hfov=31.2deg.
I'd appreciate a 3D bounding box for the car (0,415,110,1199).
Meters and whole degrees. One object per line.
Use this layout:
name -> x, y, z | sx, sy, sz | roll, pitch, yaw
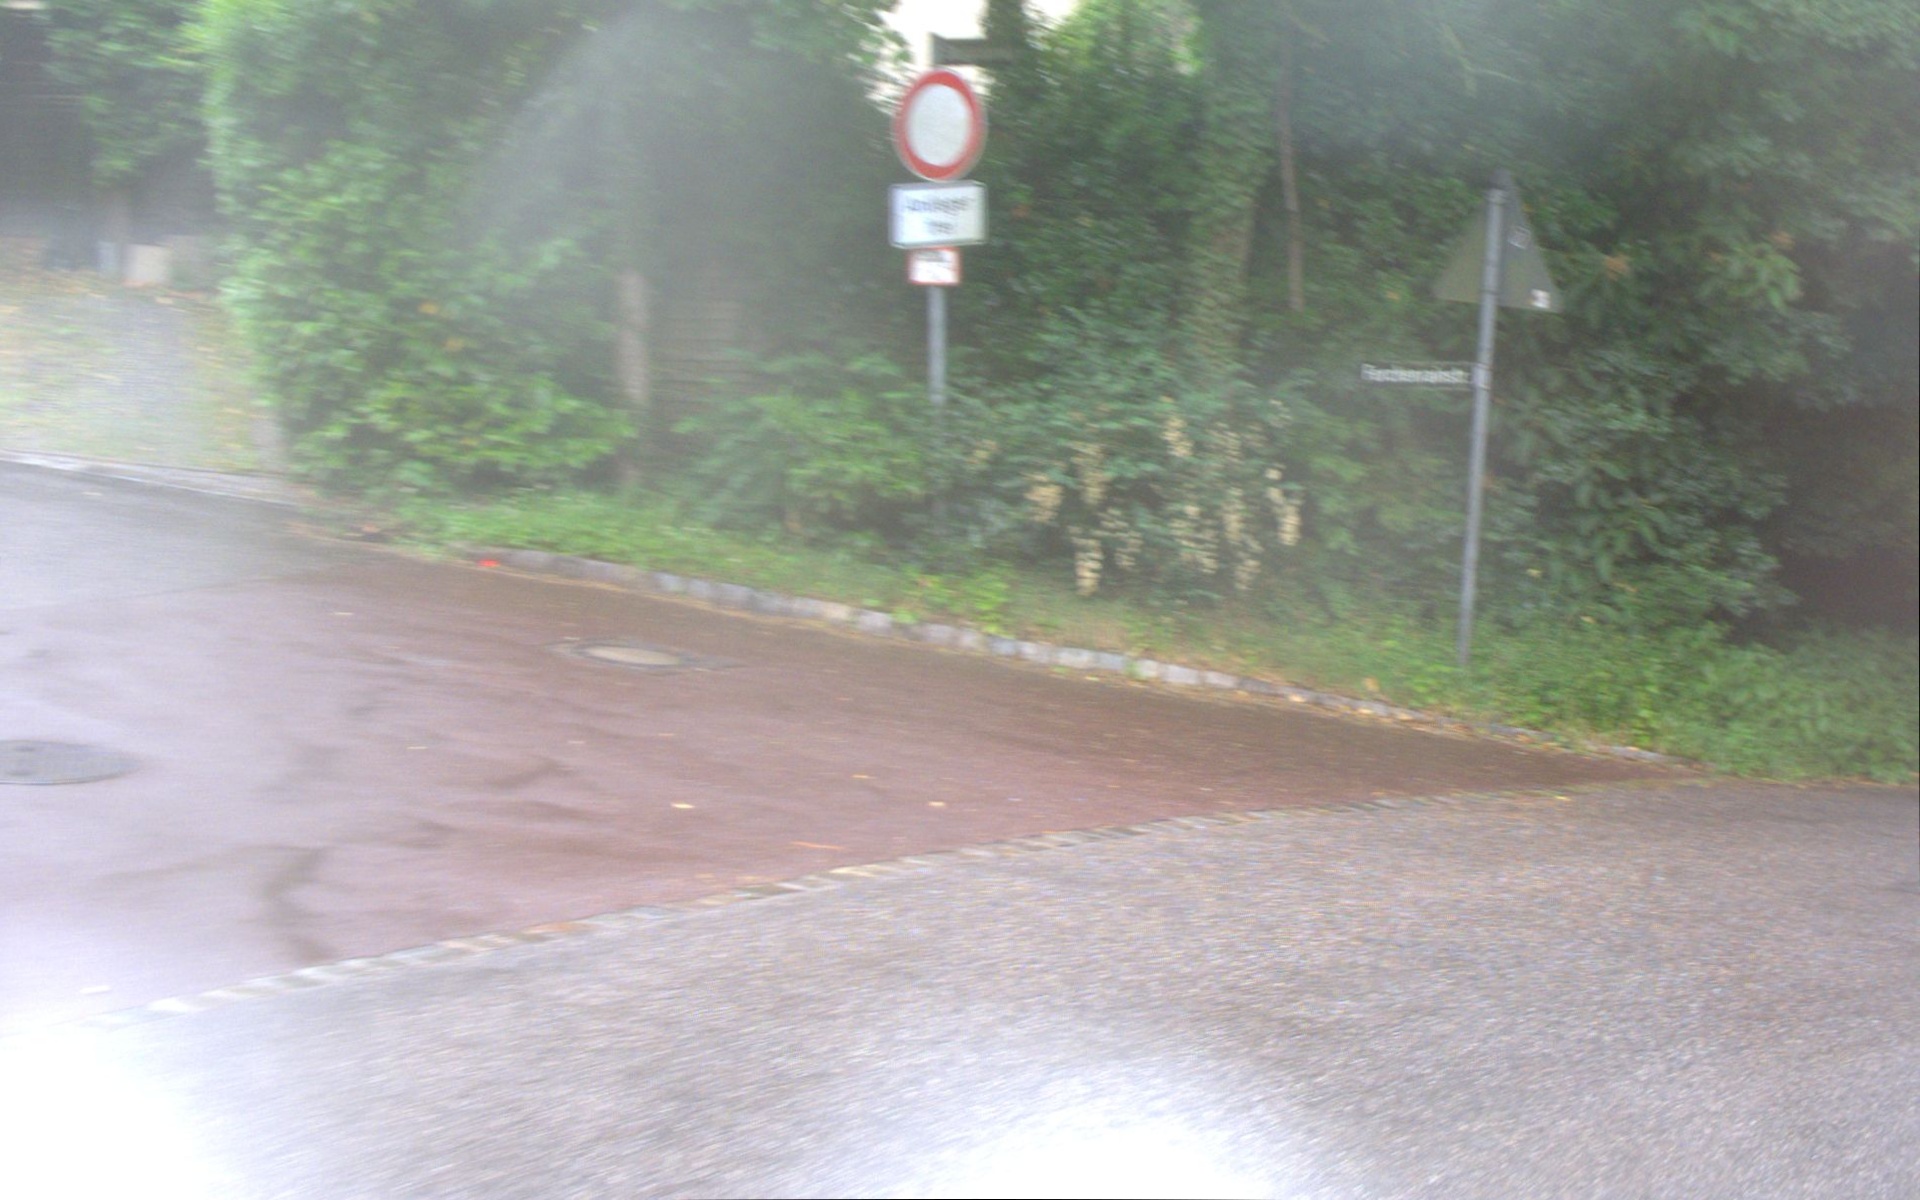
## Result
car -> -2.442, 0.505, 2.815 | 1.673, 1.532, 4.119 | 5, 2, 12
